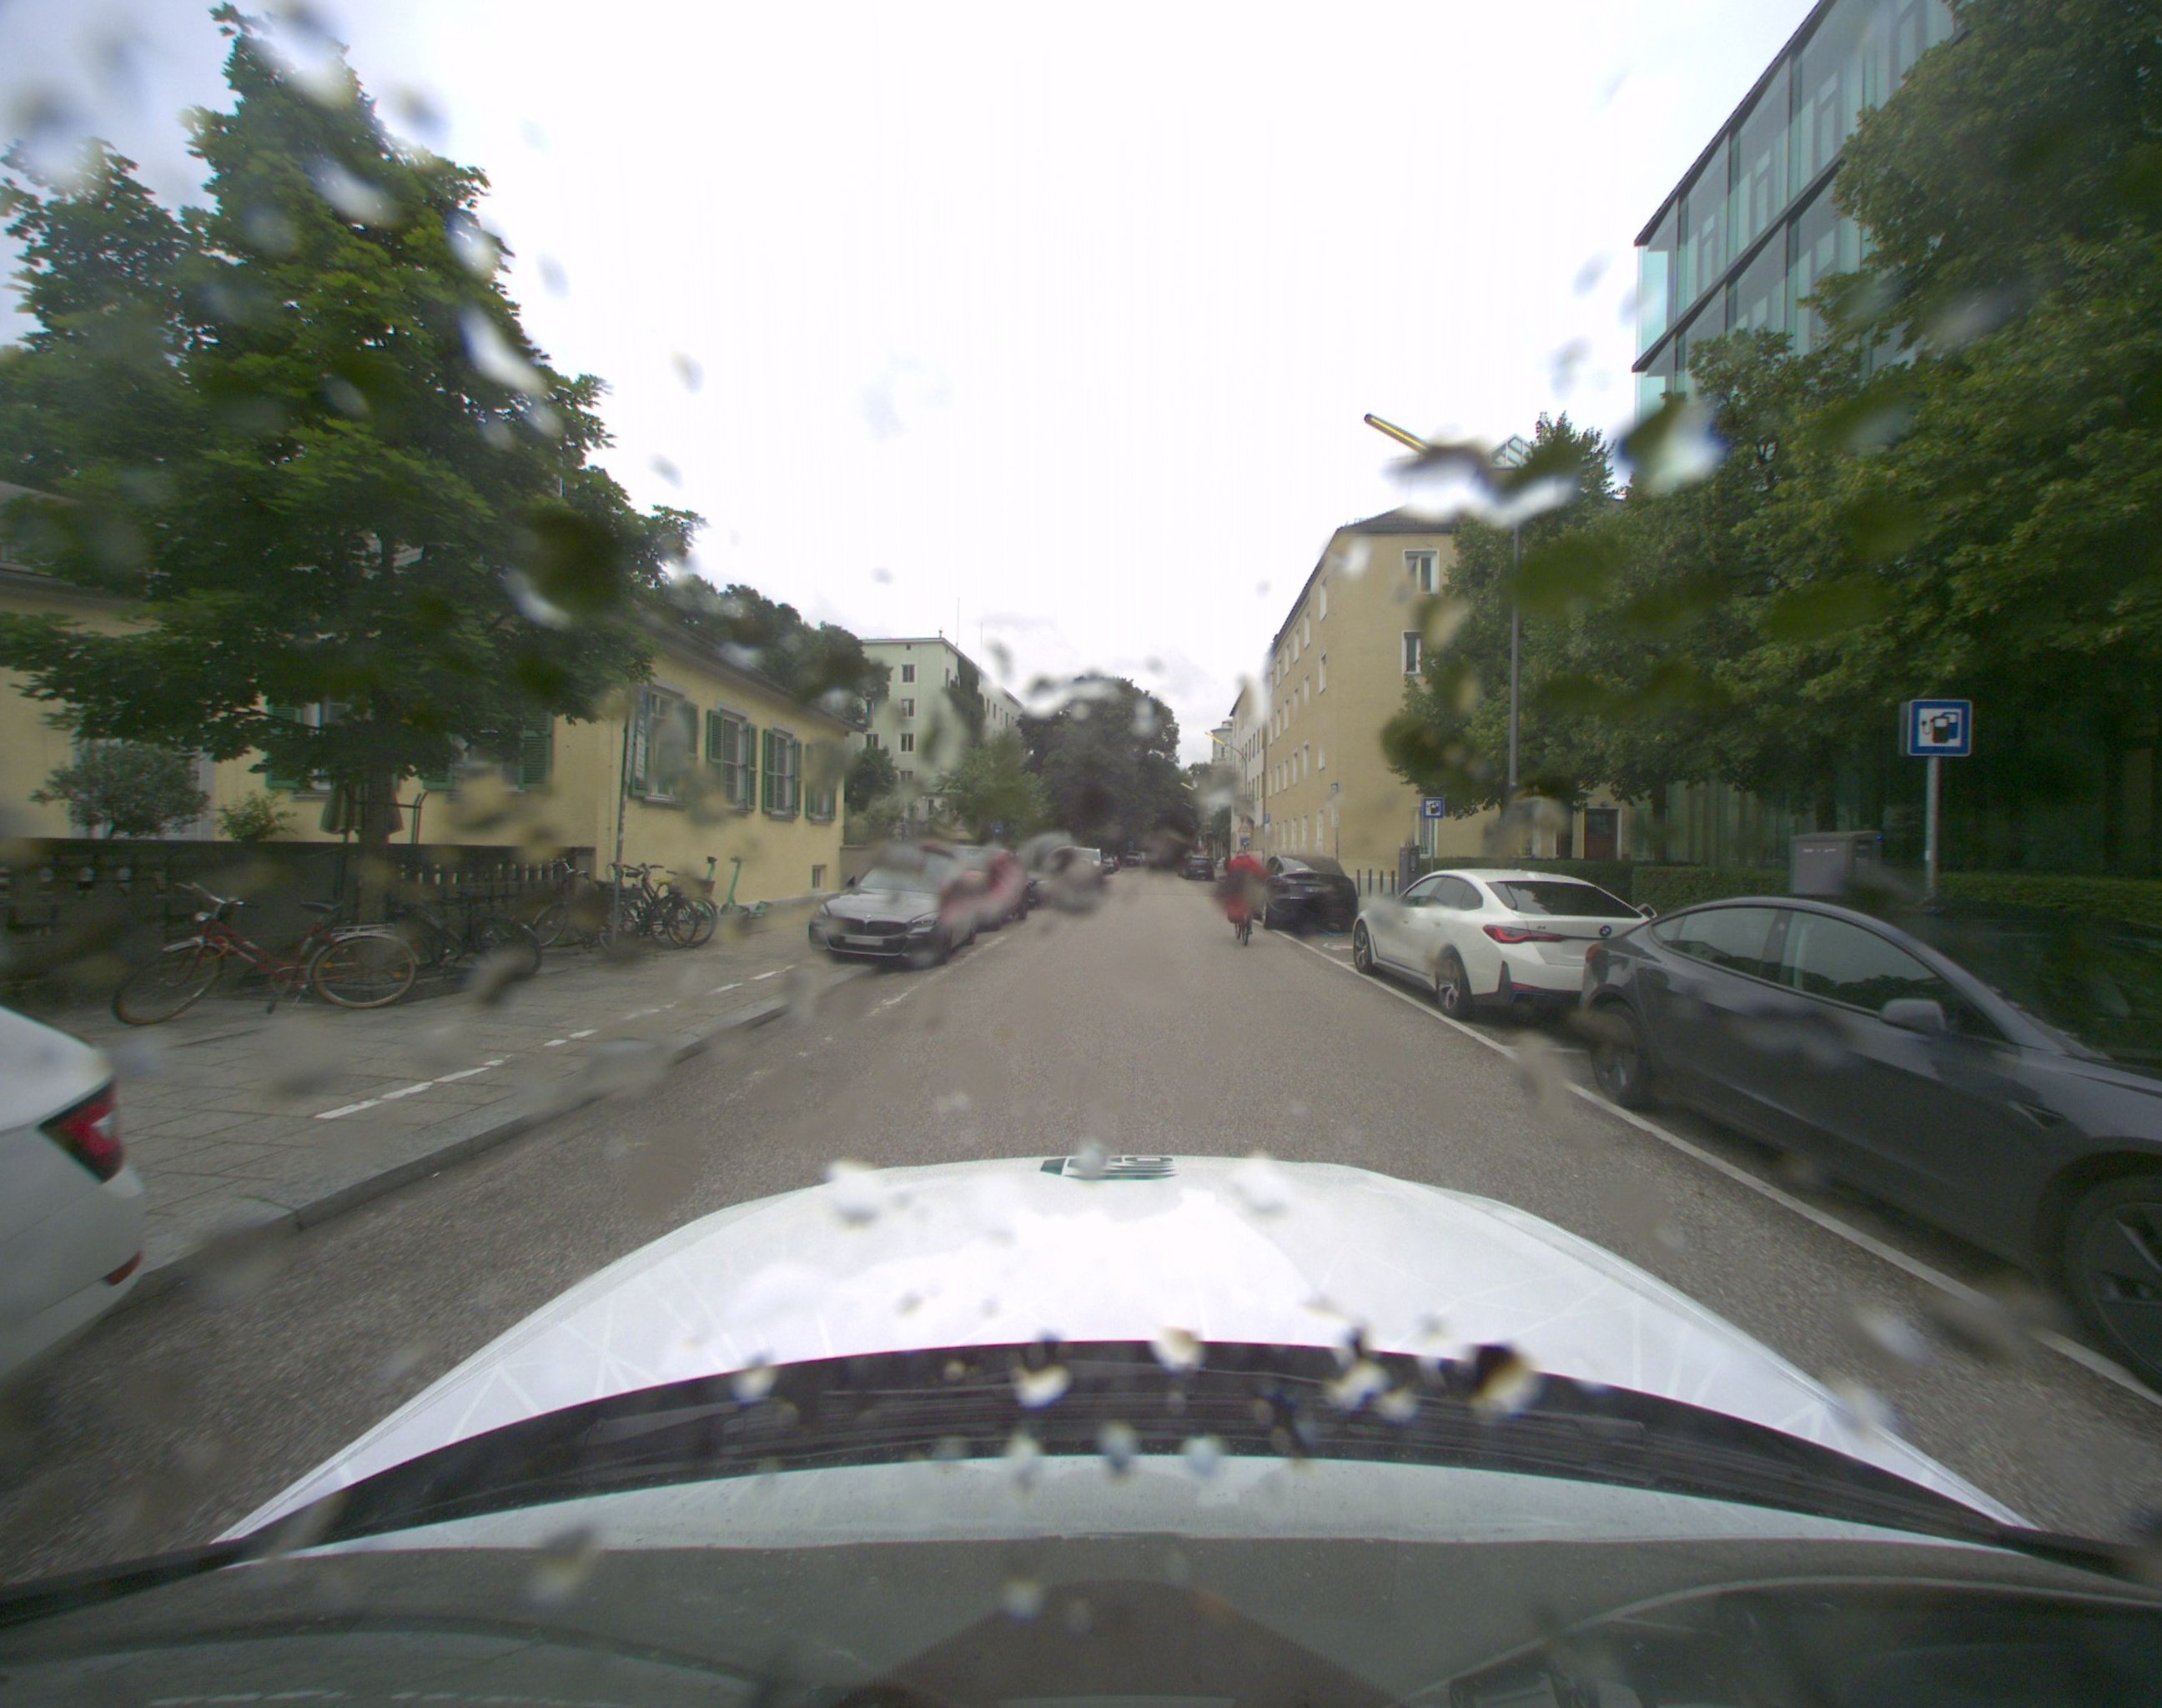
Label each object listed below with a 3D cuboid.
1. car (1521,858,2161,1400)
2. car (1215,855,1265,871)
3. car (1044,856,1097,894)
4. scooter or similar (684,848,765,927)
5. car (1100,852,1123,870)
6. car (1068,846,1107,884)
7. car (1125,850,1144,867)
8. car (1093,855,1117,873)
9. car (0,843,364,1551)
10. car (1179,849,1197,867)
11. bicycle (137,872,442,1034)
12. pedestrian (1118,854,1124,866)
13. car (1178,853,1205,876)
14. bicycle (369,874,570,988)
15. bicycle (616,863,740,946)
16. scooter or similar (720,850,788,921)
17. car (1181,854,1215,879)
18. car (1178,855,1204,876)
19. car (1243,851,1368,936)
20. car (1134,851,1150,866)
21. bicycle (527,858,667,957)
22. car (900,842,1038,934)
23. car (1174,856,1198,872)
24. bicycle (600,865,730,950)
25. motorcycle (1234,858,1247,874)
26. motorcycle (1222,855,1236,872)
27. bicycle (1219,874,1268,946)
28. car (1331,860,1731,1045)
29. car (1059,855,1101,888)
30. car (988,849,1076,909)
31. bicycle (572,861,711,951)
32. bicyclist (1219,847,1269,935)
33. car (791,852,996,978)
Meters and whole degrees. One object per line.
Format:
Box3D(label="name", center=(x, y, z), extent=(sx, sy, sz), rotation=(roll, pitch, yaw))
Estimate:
Box3D(label="car", center=(4.257, 0.838, 3.919), extent=(1.953, 1.552, 4.856), rotation=(2, 0, 5))
Box3D(label="car", center=(16.367, 0.910, 83.794), extent=(4.883, 1.531, 1.916), rotation=(0, 2, 5))
Box3D(label="car", center=(-0.397, 0.859, 35.778), extent=(1.849, 1.544, 4.194), rotation=(-1, 0, 6))
Box3D(label="scooter or similar", center=(-6.374, 0.581, 14.619), extent=(0.371, 1.343, 1.361), rotation=(1, 0, 31))
Box3D(label="car", center=(2.915, 0.681, 77.280), extent=(1.878, 1.590, 4.534), rotation=(2, 0, 5))
Box3D(label="car", center=(0.438, 0.599, 46.826), extent=(1.958, 1.990, 5.155), rotation=(2, 0, 3))
Box3D(label="car", center=(6.945, 0.578, 105.234), extent=(2.237, 1.956, 5.461), rotation=(2, 0, 5))
Box3D(label="car", center=(2.037, 0.807, 67.569), extent=(1.800, 1.402, 4.927), rotation=(2, 0, 3))
Box3D(label="car", center=(-3.264, 0.720, 0.334), extent=(1.717, 1.492, 4.466), rotation=(2, 0, 4))
Box3D(label="car", center=(13.668, 0.496, 104.545), extent=(2.192, 2.208, 4.863), rotation=(-1, -1, 6))
Box3D(label="bicycle", center=(-6.115, 0.709, 6.433), extent=(1.641, 1.088, 0.631), rotation=(0, 1, -36))
Box3D(label="pedestrian", center=(5.146, 0.745, 104.887), extent=(0.711, 1.548, 0.753), rotation=(3, 0, 2))
Box3D(label="car", center=(8.939, 0.812, 66.165), extent=(1.984, 1.707, 4.541), rotation=(3, 0, 5))
Box3D(label="bicycle", center=(-6.314, 0.768, 8.433), extent=(1.712, 1.028, 0.646), rotation=(2, 1, 11))
Box3D(label="bicycle", center=(-5.912, 0.724, 11.984), extent=(1.483, 1.149, 0.643), rotation=(1, 0, 6))
Box3D(label="scooter or similar", center=(-6.368, 0.592, 15.905), extent=(0.360, 1.314, 1.261), rotation=(1, 0, 29))
Box3D(label="car", center=(7.938, 0.807, 55.455), extent=(1.852, 1.577, 4.903), rotation=(0, 0, 3))
Box3D(label="car", center=(8.200, 0.854, 60.897), extent=(1.829, 1.531, 4.423), rotation=(0, 0, 6))
Box3D(label="car", center=(5.016, 0.796, 18.914), extent=(1.983, 1.631, 5.109), rotation=(2, 0, 6))
Box3D(label="car", center=(8.745, 0.670, 116.847), extent=(2.173, 1.956, 5.174), rotation=(2, 0, 5))
Box3D(label="bicycle", center=(-6.156, 0.657, 10.366), extent=(1.618, 1.173, 0.468), rotation=(1, 0, 12))
Box3D(label="car", center=(-2.289, 0.655, 18.058), extent=(1.893, 1.691, 4.816), rotation=(2, 0, 6))
Box3D(label="car", center=(9.755, 0.904, 75.643), extent=(1.990, 1.319, 4.602), rotation=(-2, 0, 5))
Box3D(label="bicycle", center=(-5.826, 0.737, 11.430), extent=(1.622, 1.137, 0.387), rotation=(1, 0, 2))
Box3D(label="motorcycle", center=(12.279, 0.914, 62.830), extent=(0.729, 1.239, 2.010), rotation=(2, 0, 4))
Box3D(label="motorcycle", center=(13.002, 0.835, 71.605), extent=(0.853, 1.433, 2.709), rotation=(1, 0, 4))
Box3D(label="bicycle", center=(2.876, 0.949, 14.561), extent=(0.668, 1.141, 2.015), rotation=(2, 0, 7))
Box3D(label="car", center=(4.568, 0.850, 9.375), extent=(1.986, 1.460, 4.959), rotation=(2, 0, 2))
Box3D(label="car", center=(0.008, 0.834, 40.858), extent=(1.880, 1.544, 4.698), rotation=(1, 0, 2))
Box3D(label="car", center=(-1.392, 0.697, 24.935), extent=(1.836, 1.607, 4.751), rotation=(2, 0, 6))
Box3D(label="bicycle", center=(-5.958, 0.697, 11.061), extent=(1.694, 1.172, 0.353), rotation=(1, 0, 2))
Box3D(label="bicyclist", center=(2.866, 0.630, 14.423), extent=(0.750, 1.483, 0.983), rotation=(2, -1, 6))
Box3D(label="car", center=(-2.626, 0.774, 12.668), extent=(1.889, 1.519, 4.657), rotation=(2, 0, 2))
